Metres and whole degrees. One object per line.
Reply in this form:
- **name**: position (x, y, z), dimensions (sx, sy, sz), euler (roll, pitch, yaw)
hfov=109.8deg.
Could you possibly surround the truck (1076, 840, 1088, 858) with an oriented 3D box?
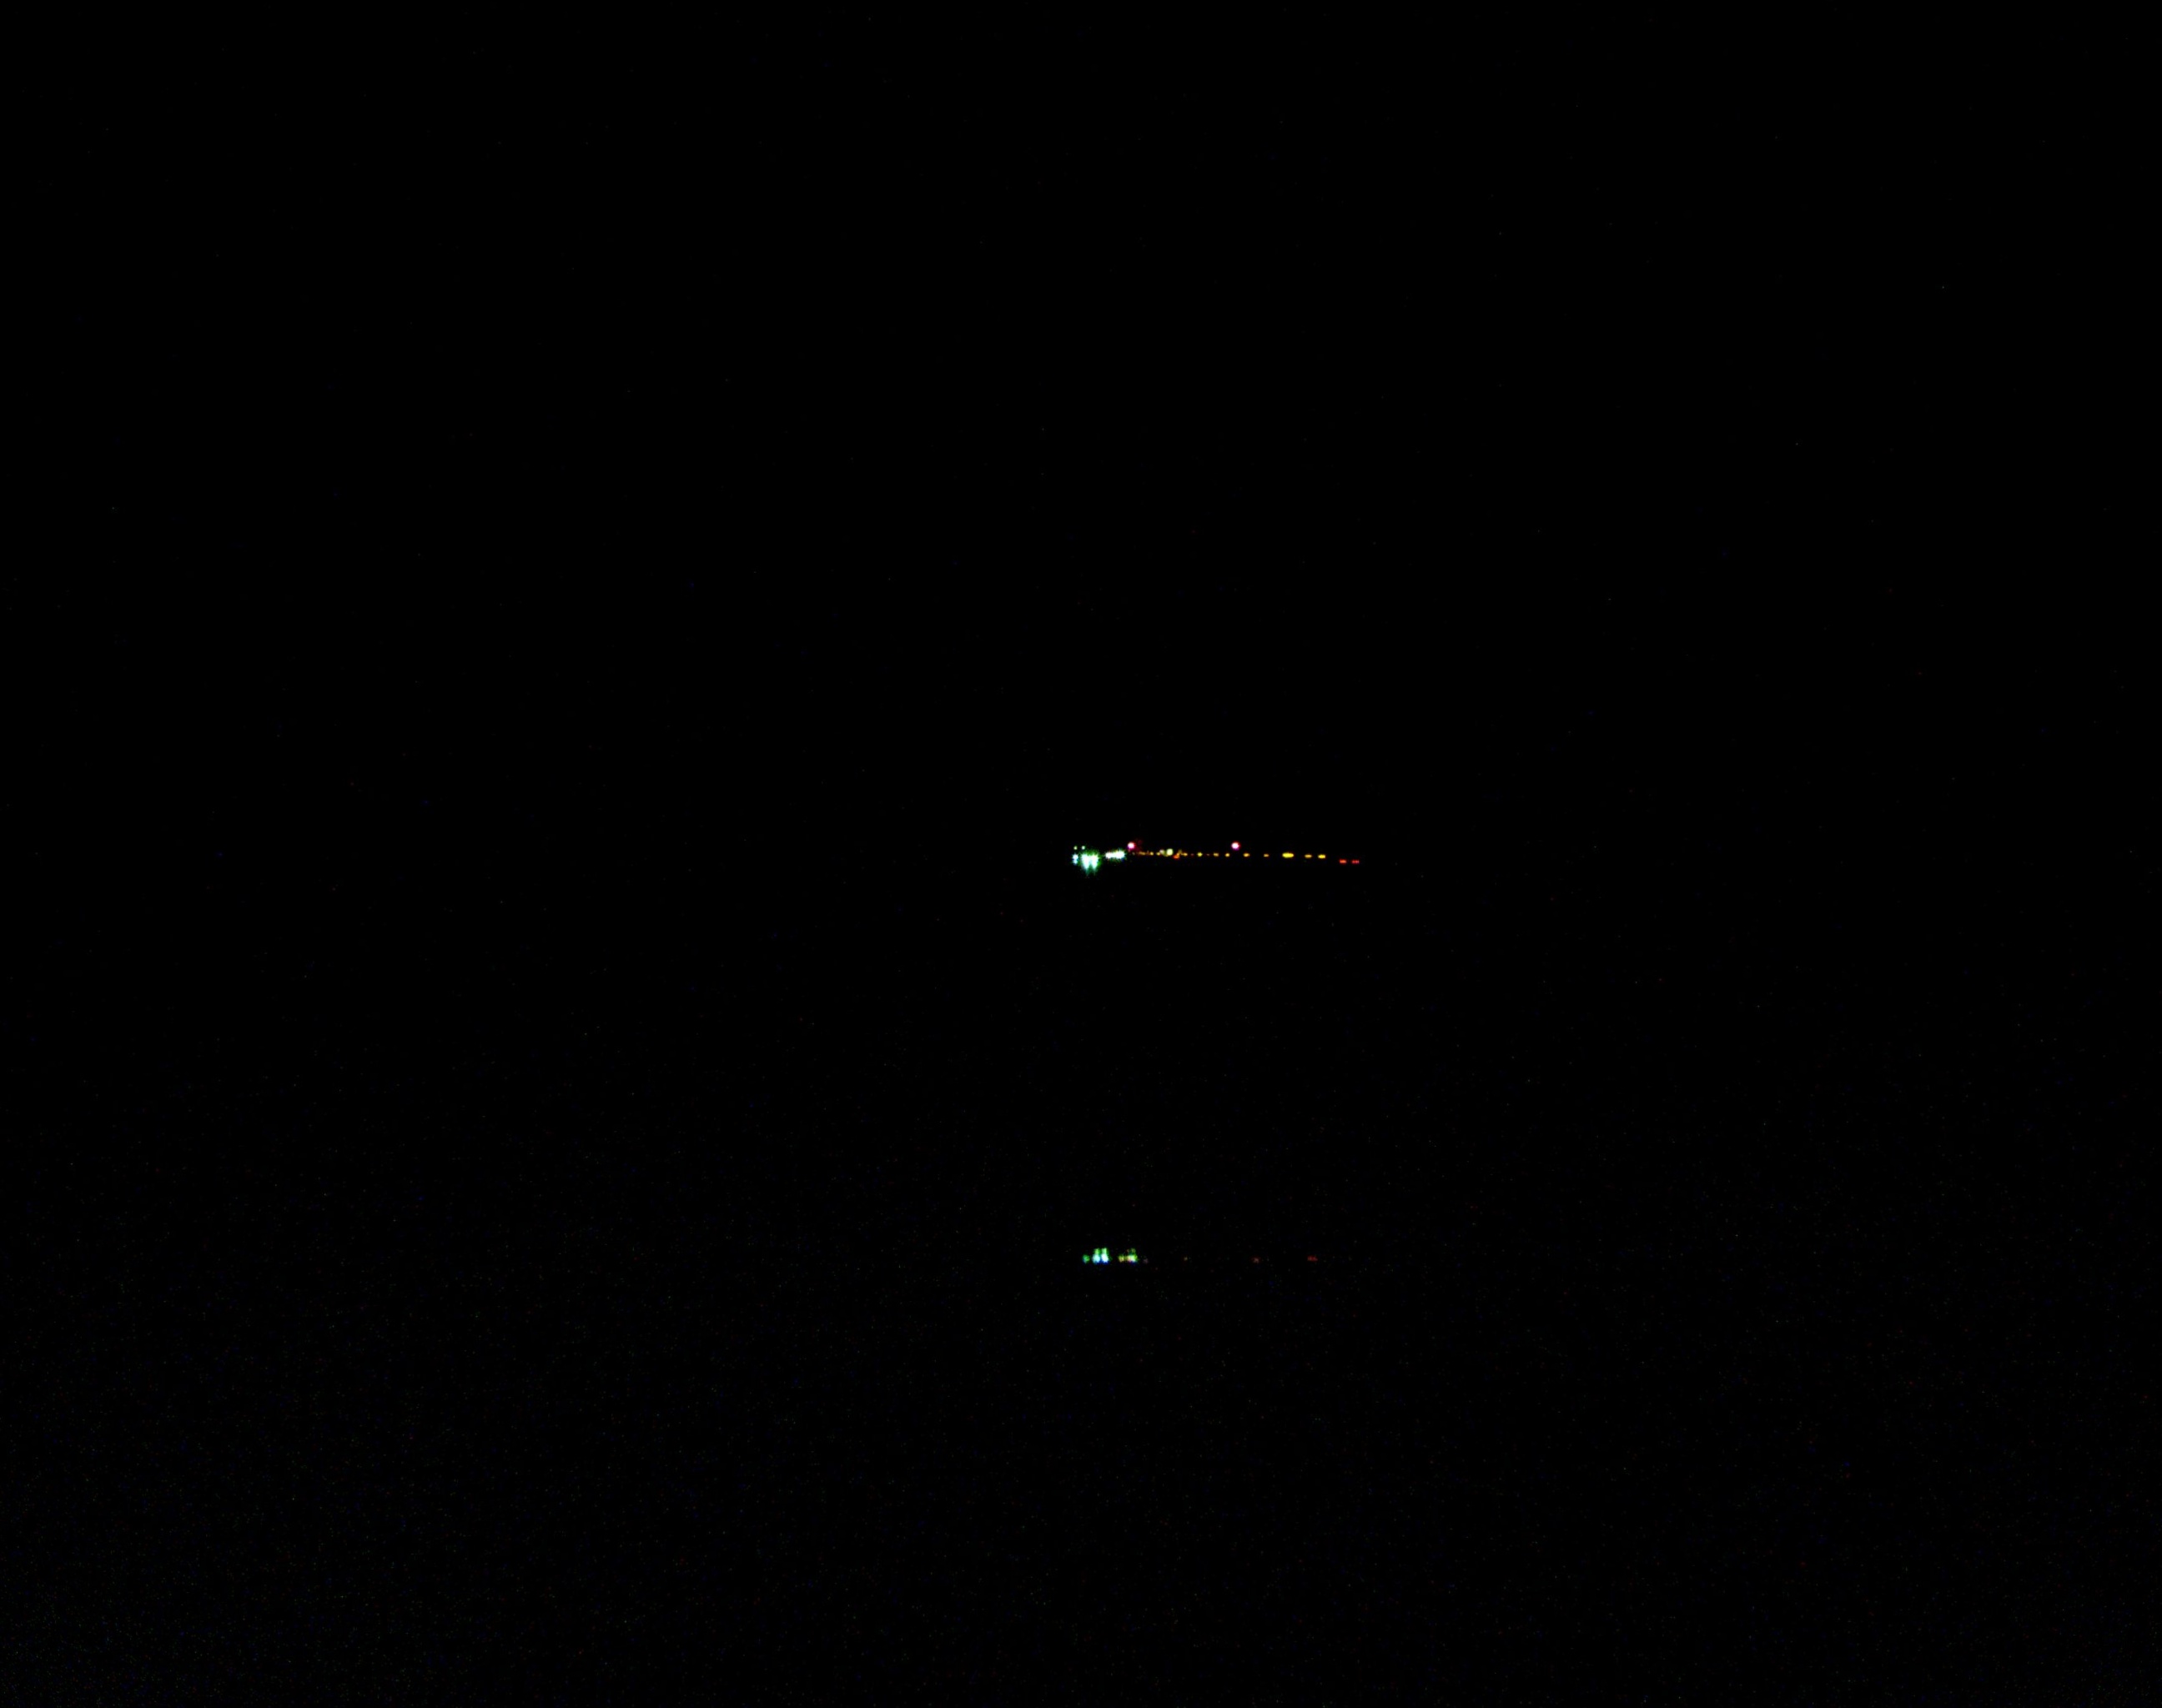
- **truck**: position (0.249, -1.299, 191.780), dimensions (2.749, 4.182, 13.507), euler (-3, 1, 0)

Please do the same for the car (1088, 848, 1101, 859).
- **car**: position (2.606, -0.076, 145.067), dimensions (2.267, 1.842, 5.402), euler (-3, 1, -1)
